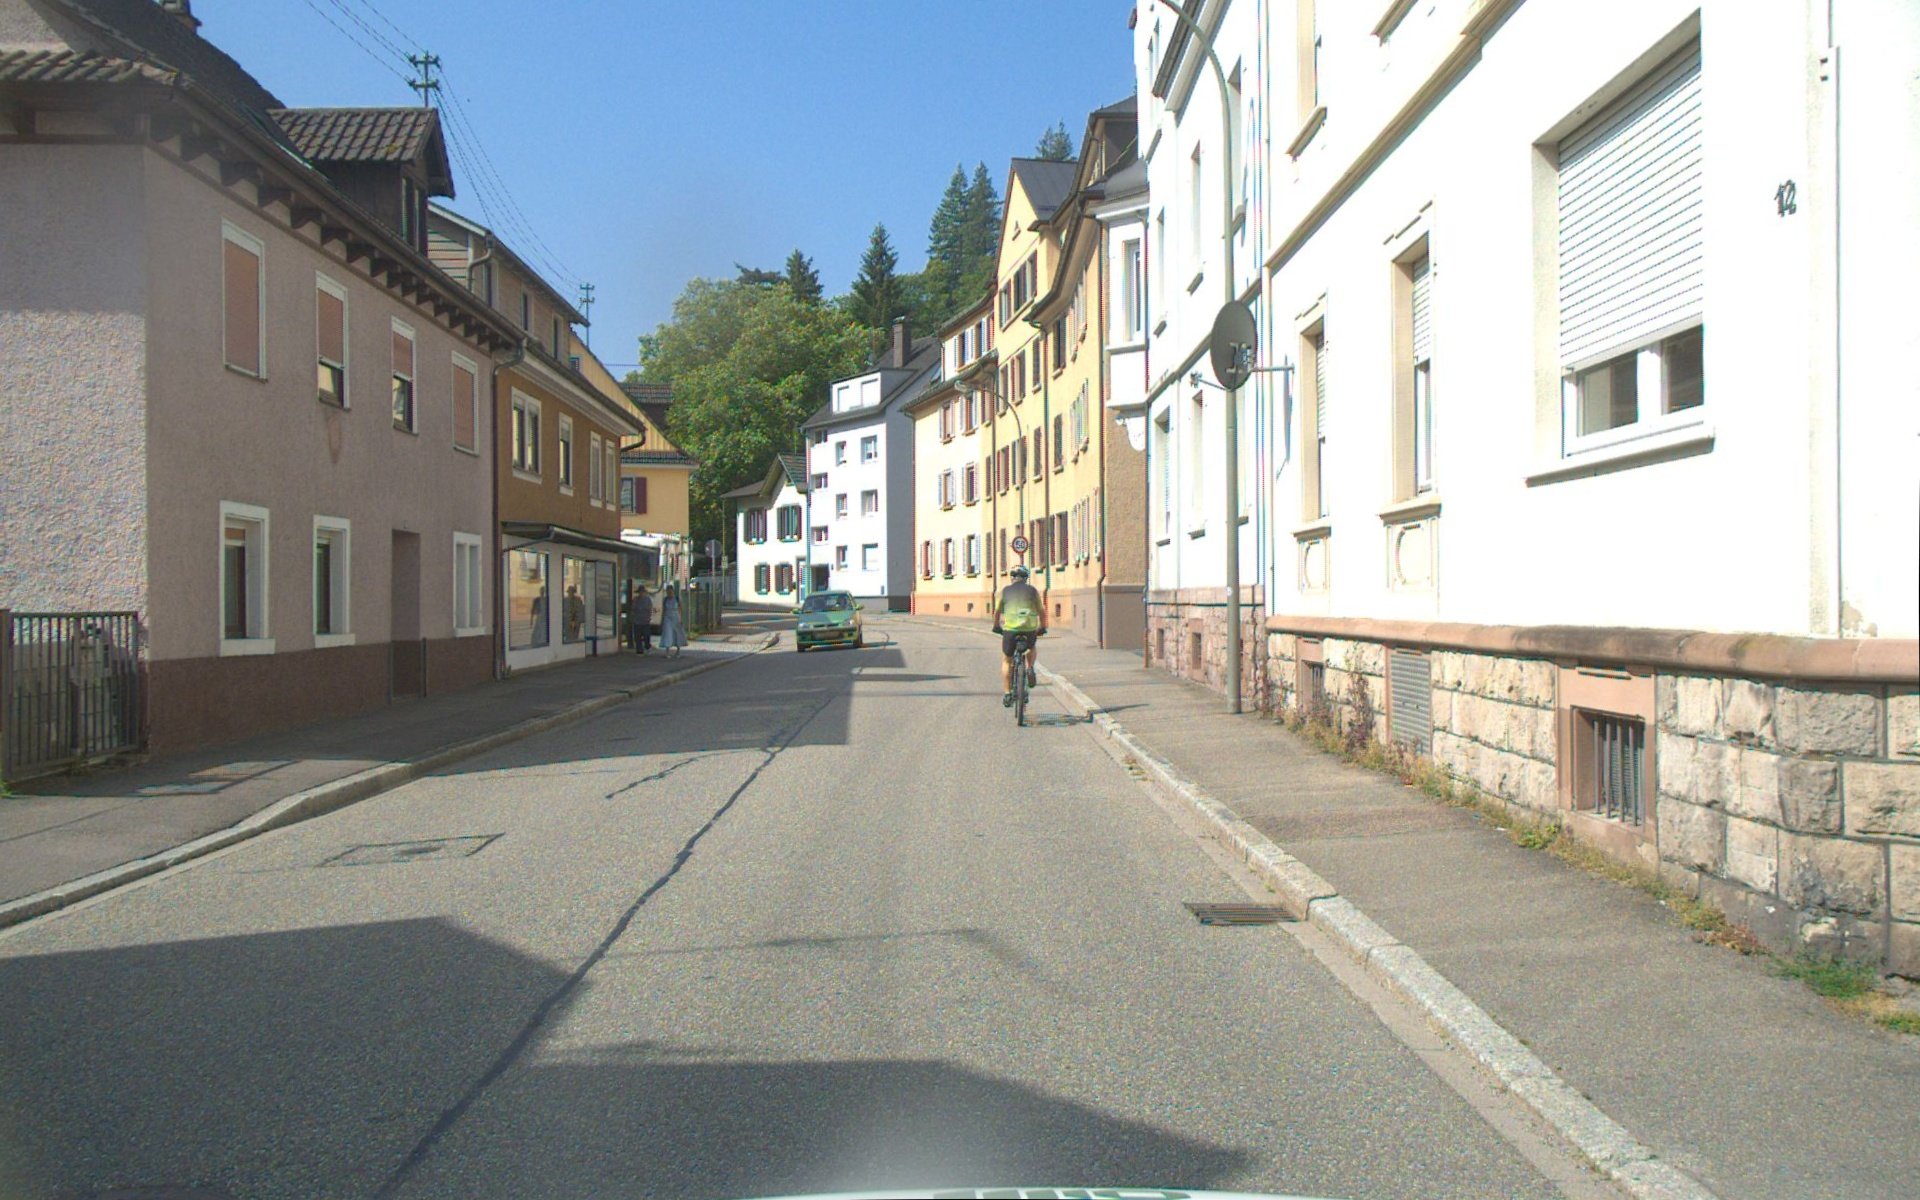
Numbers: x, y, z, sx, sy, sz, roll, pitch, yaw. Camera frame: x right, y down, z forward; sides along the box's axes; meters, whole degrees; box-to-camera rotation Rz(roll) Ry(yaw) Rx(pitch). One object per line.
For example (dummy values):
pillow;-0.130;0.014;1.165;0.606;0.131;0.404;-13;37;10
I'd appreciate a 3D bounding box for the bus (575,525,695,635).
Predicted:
bus;-10.581;-0.636;54.665;2.765;3.284;9.028;1;0;-4

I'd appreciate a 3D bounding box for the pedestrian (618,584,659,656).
pedestrian;-7.290;0.451;37.559;0.720;1.592;0.824;3;0;-1

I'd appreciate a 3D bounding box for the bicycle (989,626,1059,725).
bicycle;0.720;0.843;19.004;0.684;1.053;1.470;0;1;-3

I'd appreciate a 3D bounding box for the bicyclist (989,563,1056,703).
bicyclist;0.711;0.373;18.995;0.672;1.558;0.715;-1;0;-3

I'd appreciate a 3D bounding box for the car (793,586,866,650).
car;-3.325;0.435;42.590;1.564;1.490;3.659;-4;0;-1

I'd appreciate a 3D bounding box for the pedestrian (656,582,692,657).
pedestrian;-6.463;0.441;37.426;0.626;1.654;0.777;2;0;-1
